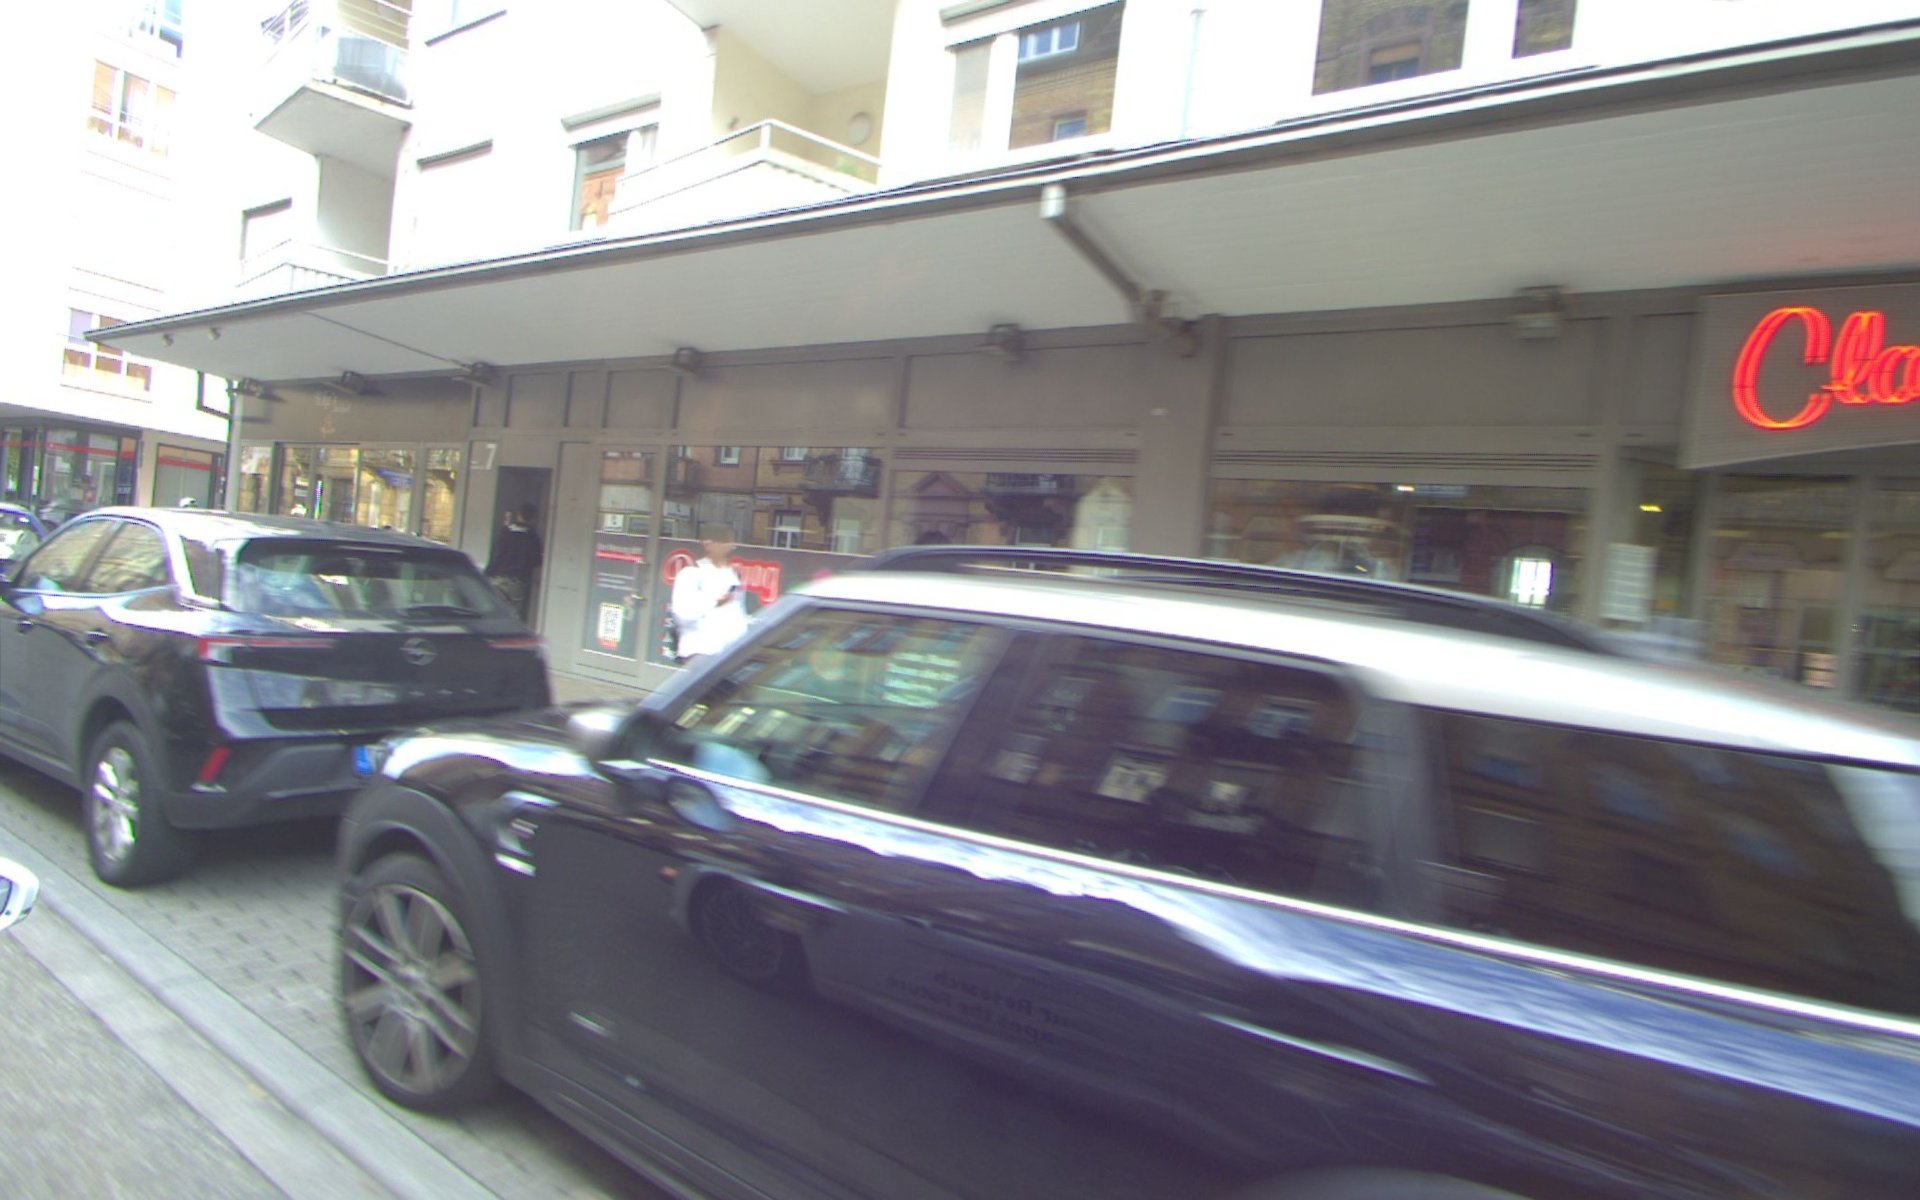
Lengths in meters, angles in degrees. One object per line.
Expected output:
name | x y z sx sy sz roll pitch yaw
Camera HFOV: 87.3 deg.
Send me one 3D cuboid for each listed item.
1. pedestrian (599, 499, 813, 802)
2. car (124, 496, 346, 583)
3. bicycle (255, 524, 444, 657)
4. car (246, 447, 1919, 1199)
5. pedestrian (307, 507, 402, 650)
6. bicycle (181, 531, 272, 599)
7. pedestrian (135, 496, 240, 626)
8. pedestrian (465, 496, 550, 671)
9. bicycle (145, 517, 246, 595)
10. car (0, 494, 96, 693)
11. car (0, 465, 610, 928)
pedestrian | -1.651 0.286 6.523 1.107 1.750 0.612 7 4 28
car | -19.150 -1.552 26.779 1.779 1.651 4.363 9 1 35
bicycle | -7.209 -0.132 11.828 2.459 1.308 0.918 7 2 34
car | 0.064 0.611 2.609 3.861 1.626 1.793 7 1 34
pedestrian | -7.230 -0.253 12.006 0.768 1.610 0.643 7 3 36
bicycle | -13.391 -0.644 18.355 1.893 1.077 0.446 6 0 26
pedestrian | -10.284 -0.508 13.395 0.768 1.609 0.824 7 1 35
pedestrian | -5.197 -0.186 11.544 0.701 1.883 0.640 6 1 -27
bicycle | -13.593 -0.784 17.868 1.899 1.206 0.535 6 0 25
car | -8.912 -0.242 8.398 3.966 1.457 1.595 7 1 35
car | -3.855 0.236 5.295 3.838 1.597 1.689 6 1 33
